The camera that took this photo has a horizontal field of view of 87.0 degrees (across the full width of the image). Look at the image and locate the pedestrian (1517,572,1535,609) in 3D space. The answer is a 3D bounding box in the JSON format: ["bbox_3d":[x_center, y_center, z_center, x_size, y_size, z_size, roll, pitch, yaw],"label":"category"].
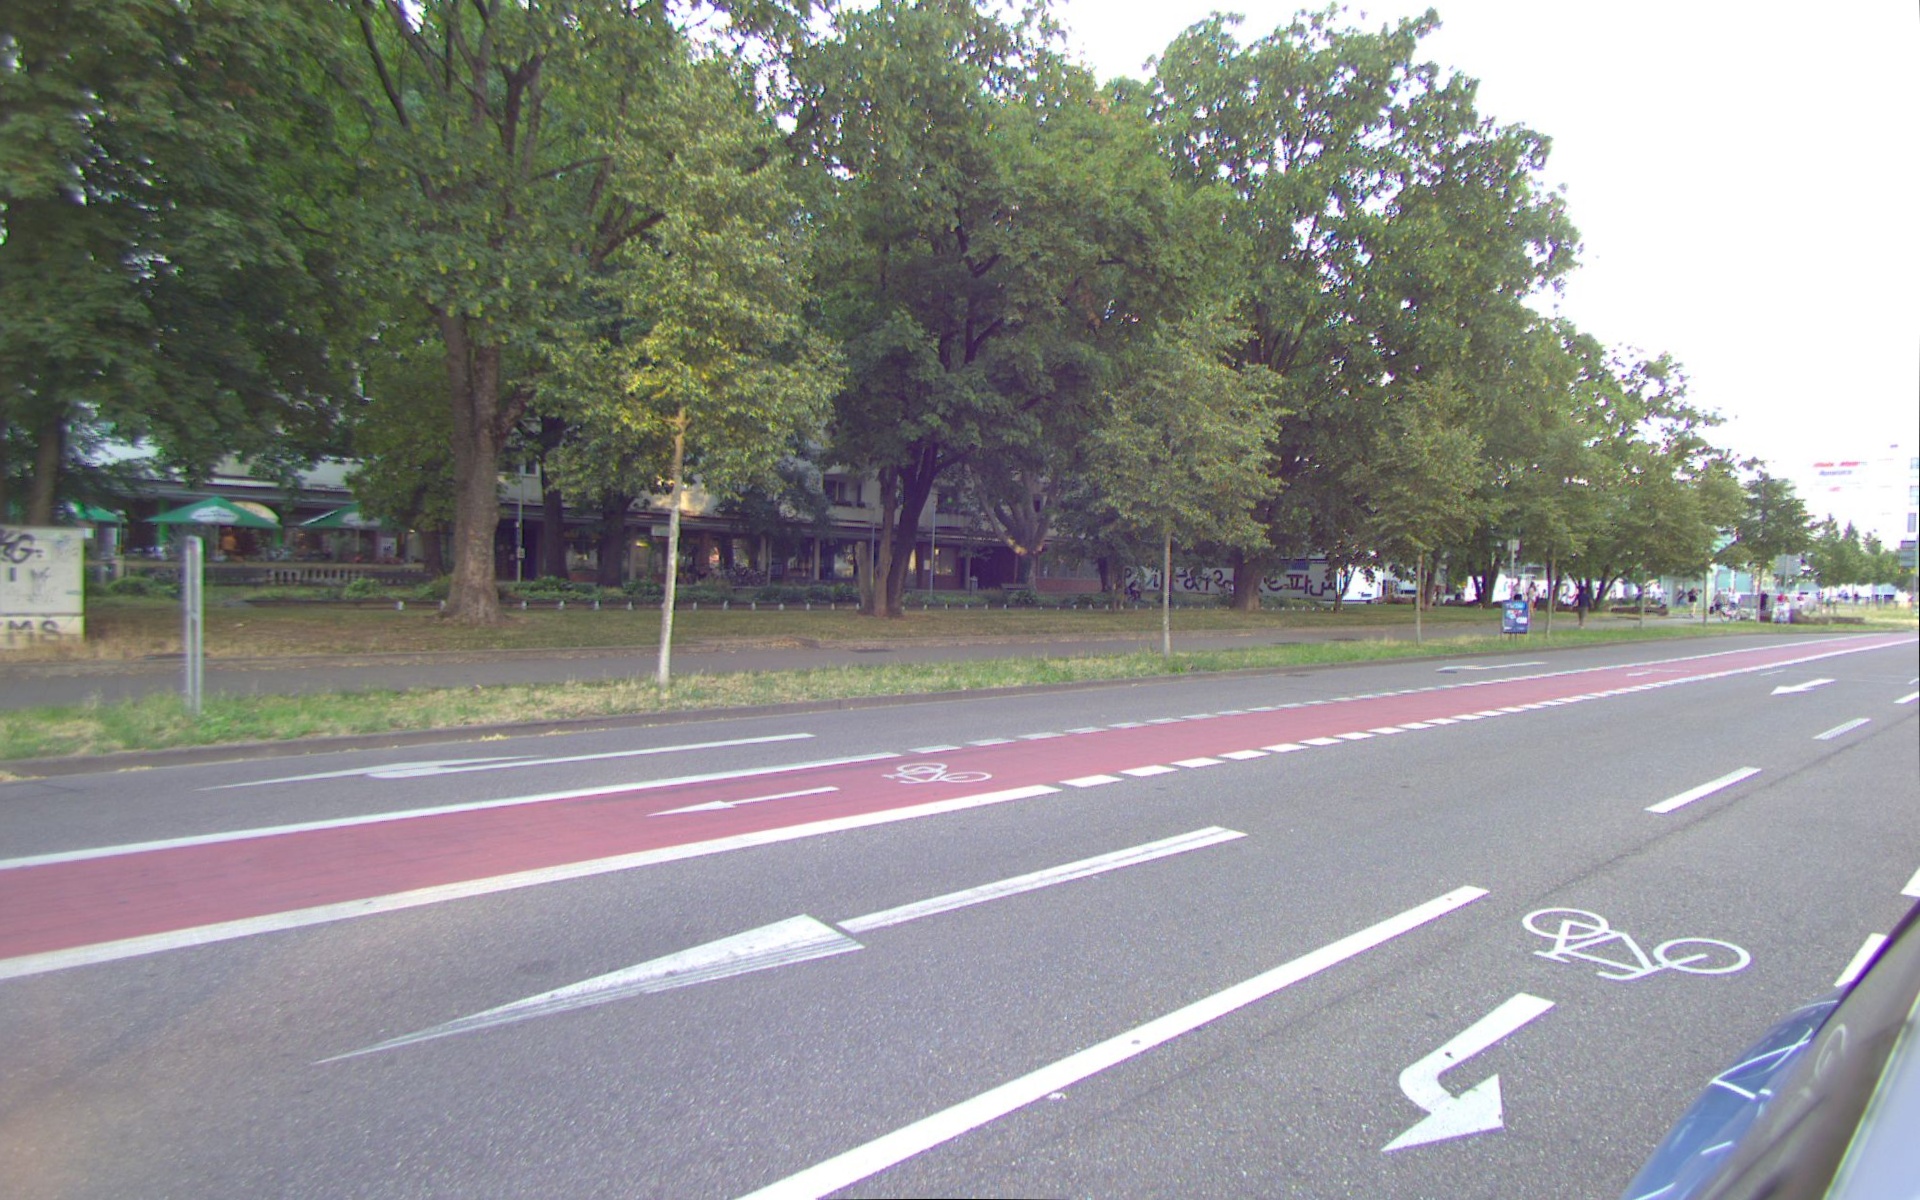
[{"bbox_3d":[24.877,-0.415,44.472,0.513,1.621,0.500,0,2,-41],"label":"pedestrian"}]

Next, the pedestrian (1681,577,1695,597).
[{"bbox_3d":[51.611,-0.917,71.732,0.496,1.371,0.654,0,2,-40],"label":"pedestrian"}]

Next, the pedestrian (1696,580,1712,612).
[{"bbox_3d":[41.263,-0.206,56.113,0.707,1.751,0.508,0,2,-40],"label":"pedestrian"}]

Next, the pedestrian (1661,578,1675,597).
[{"bbox_3d":[50.735,-0.883,72.520,0.550,1.371,0.662,0,2,-40],"label":"pedestrian"}]

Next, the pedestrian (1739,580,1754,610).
[{"bbox_3d":[45.366,-0.296,58.383,0.707,1.751,0.508,0,2,-40],"label":"pedestrian"}]

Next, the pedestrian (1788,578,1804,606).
[{"bbox_3d":[54.502,-0.519,65.970,0.497,1.779,0.638,0,2,-40],"label":"pedestrian"}]

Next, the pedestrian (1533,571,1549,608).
[{"bbox_3d":[25.926,-0.472,45.155,0.359,1.621,0.500,1,2,-40],"label":"pedestrian"}]

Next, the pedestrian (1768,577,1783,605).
[{"bbox_3d":[53.888,-0.602,66.893,0.497,1.779,0.638,0,2,-40],"label":"pedestrian"}]

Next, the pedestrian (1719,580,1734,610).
[{"bbox_3d":[44.881,-0.306,59.283,0.707,1.751,0.519,0,2,-40],"label":"pedestrian"}]

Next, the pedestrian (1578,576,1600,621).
[{"bbox_3d":[24.660,-0.060,39.673,0.546,1.760,0.558,0,2,-41],"label":"pedestrian"}]

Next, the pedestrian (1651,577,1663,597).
[{"bbox_3d":[49.309,-0.895,71.592,0.759,1.371,0.519,0,2,-41],"label":"pedestrian"}]

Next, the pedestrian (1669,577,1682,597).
[{"bbox_3d":[50.136,-0.894,70.944,0.759,1.371,0.519,0,2,-41],"label":"pedestrian"}]

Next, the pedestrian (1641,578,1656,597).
[{"bbox_3d":[49.752,-0.889,73.164,0.604,1.371,0.728,0,2,-40],"label":"pedestrian"}]
